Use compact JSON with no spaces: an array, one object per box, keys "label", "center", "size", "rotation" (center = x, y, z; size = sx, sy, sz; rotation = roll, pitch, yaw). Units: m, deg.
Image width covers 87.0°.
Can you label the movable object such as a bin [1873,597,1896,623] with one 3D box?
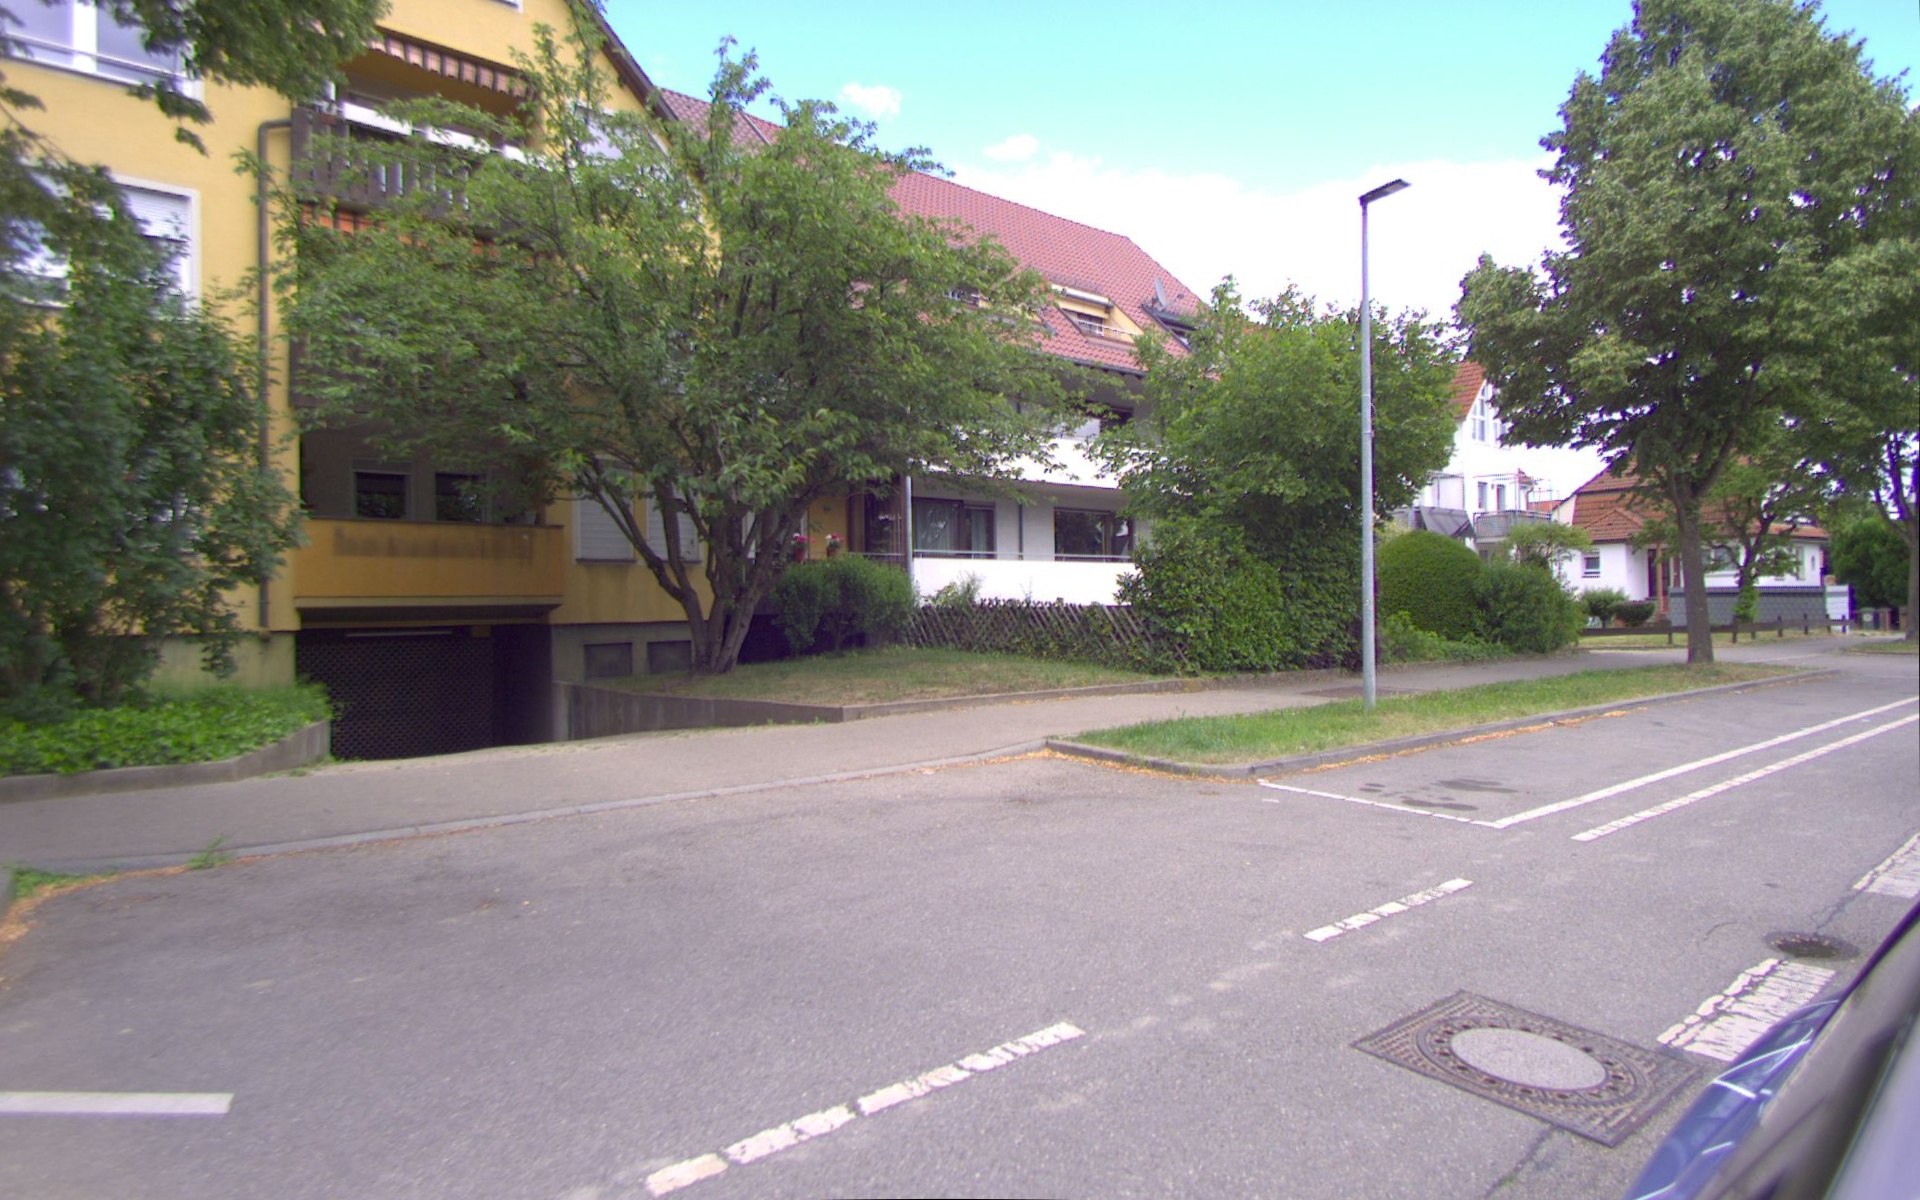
[{"label":"movable object such as a bin","center":[38.406,0.398,42.029],"size":[0.508,1.072,0.542],"rotation":[0,0,-21]}]

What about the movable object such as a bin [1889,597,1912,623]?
[{"label":"movable object such as a bin","center":[38.597,0.397,41.525],"size":[0.508,1.058,0.501],"rotation":[0,0,-22]}]
